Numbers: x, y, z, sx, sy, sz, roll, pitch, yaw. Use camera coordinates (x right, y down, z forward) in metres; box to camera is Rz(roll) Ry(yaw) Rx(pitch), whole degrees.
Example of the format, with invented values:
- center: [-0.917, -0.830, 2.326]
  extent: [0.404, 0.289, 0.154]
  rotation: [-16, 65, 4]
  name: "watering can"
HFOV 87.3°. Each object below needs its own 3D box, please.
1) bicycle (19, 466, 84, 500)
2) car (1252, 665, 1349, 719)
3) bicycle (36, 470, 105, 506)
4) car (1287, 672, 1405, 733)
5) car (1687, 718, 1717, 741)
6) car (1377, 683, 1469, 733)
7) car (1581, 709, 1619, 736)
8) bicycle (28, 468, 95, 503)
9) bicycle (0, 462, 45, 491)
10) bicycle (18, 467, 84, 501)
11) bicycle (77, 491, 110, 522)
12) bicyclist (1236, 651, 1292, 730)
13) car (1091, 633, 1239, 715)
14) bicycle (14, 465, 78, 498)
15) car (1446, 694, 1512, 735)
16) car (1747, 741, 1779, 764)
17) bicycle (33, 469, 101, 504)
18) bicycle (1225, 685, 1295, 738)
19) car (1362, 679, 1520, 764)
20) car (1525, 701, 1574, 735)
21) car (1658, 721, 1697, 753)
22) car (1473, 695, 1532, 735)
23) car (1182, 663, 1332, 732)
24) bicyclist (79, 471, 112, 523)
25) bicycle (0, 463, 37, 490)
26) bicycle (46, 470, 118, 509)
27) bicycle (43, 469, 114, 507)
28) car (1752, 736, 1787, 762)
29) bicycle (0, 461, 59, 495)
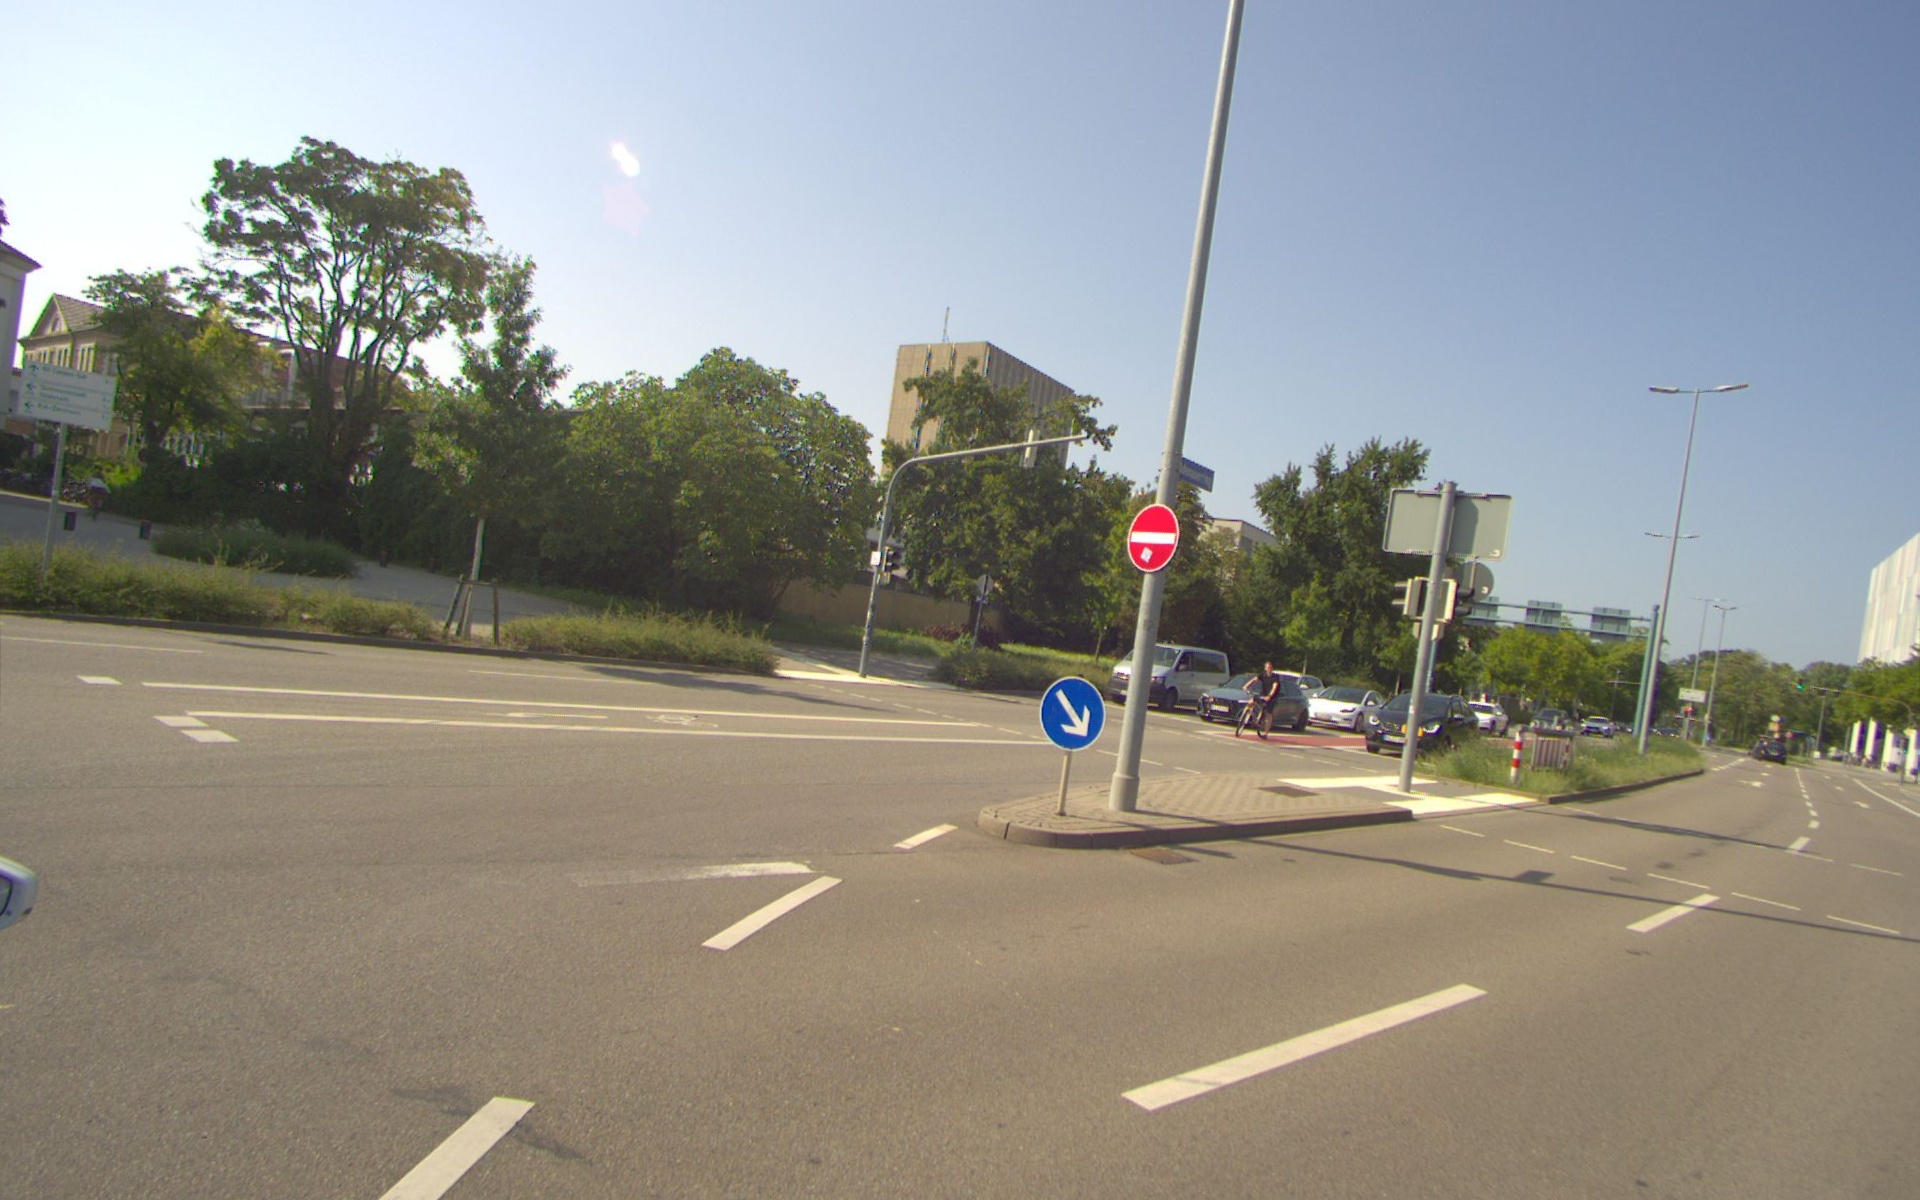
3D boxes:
- center: [-48.914, -6.300, 54.175]
  extent: [0.710, 1.242, 2.427]
  rotation: [9, -2, 41]
  name: "bicycle"
- center: [12.663, 3.433, 37.282]
  extent: [1.786, 1.523, 3.949]
  rotation: [8, -1, 43]
  name: "car"
- center: [-45.049, -5.671, 50.992]
  extent: [0.710, 1.237, 2.427]
  rotation: [9, -2, 41]
  name: "bicycle"
- center: [12.836, 3.426, 33.308]
  extent: [1.973, 1.523, 4.414]
  rotation: [8, -1, 43]
  name: "car"
- center: [77.031, 13.469, 104.486]
  extent: [1.887, 2.035, 3.999]
  rotation: [9, -3, 31]
  name: "car"
- center: [18.479, 4.324, 40.047]
  extent: [1.973, 1.523, 4.275]
  rotation: [8, -1, 43]
  name: "car"
- center: [47.904, 9.156, 75.253]
  extent: [1.903, 1.679, 4.282]
  rotation: [8, -1, 37]
  name: "car"
- center: [-47.408, -6.031, 53.097]
  extent: [0.710, 1.248, 2.427]
  rotation: [9, -2, 41]
  name: "bicycle"
- center: [-56.254, -7.387, 59.930]
  extent: [0.710, 1.276, 2.427]
  rotation: [9, -2, 41]
  name: "bicycle"
- center: [-48.231, -6.169, 53.394]
  extent: [0.710, 1.253, 2.427]
  rotation: [9, -2, 41]
  name: "bicycle"
- center: [-29.340, -3.158, 34.058]
  extent: [0.672, 0.890, 1.382]
  rotation: [8, 0, -45]
  name: "bicycle"
- center: [6.959, 2.078, 23.014]
  extent: [0.738, 1.655, 0.872]
  rotation: [9, 1, 41]
  name: "bicyclist"
- center: [6.234, 2.265, 30.188]
  extent: [1.822, 1.897, 4.950]
  rotation: [9, 0, 43]
  name: "car"
- center: [-50.096, -6.489, 55.167]
  extent: [0.710, 1.296, 2.427]
  rotation: [9, -2, 41]
  name: "bicycle"
- center: [24.294, 5.369, 47.040]
  extent: [1.903, 1.523, 4.282]
  rotation: [8, -1, 37]
  name: "car"
- center: [69.605, 13.197, 87.267]
  extent: [1.685, 1.592, 3.990]
  rotation: [9, 0, 35]
  name: "car"
- center: [-45.988, -5.834, 51.810]
  extent: [0.710, 1.237, 2.427]
  rotation: [9, -2, 41]
  name: "bicycle"
- center: [6.881, 2.562, 23.018]
  extent: [0.759, 1.065, 1.767]
  rotation: [9, 1, 41]
  name: "bicycle"
- center: [11.494, 2.925, 23.867]
  extent: [1.830, 1.597, 4.689]
  rotation: [6, -2, 45]
  name: "car"
- center: [35.966, 7.196, 61.343]
  extent: [1.903, 1.679, 4.282]
  rotation: [8, -1, 37]
  name: "car"
- center: [43.679, 8.283, 61.246]
  extent: [1.685, 1.592, 3.990]
  rotation: [9, 0, 36]
  name: "car"
- center: [28.177, 5.980, 52.182]
  extent: [1.903, 1.679, 4.282]
  rotation: [8, -1, 37]
  name: "car"
- center: [8.359, 2.745, 28.004]
  extent: [1.886, 1.417, 4.896]
  rotation: [8, -1, 43]
  name: "car"
- center: [-29.288, -3.496, 34.074]
  extent: [0.648, 1.621, 0.908]
  rotation: [8, 1, -44]
  name: "bicyclist"
- center: [-57.198, -7.503, 60.410]
  extent: [0.710, 1.294, 2.427]
  rotation: [9, -2, 41]
  name: "bicycle"
- center: [-42.362, -5.326, 48.578]
  extent: [0.710, 1.333, 2.427]
  rotation: [9, -2, 41]
  name: "bicycle"
- center: [-43.197, -5.472, 49.310]
  extent: [0.710, 1.333, 2.427]
  rotation: [9, -2, 41]
  name: "bicycle"
- center: [62.901, 11.589, 78.236]
  extent: [1.685, 1.592, 3.990]
  rotation: [9, 0, 36]
  name: "car"
- center: [-51.332, -6.712, 55.375]
  extent: [0.710, 1.296, 2.427]
  rotation: [9, -2, 41]
  name: "bicycle"
